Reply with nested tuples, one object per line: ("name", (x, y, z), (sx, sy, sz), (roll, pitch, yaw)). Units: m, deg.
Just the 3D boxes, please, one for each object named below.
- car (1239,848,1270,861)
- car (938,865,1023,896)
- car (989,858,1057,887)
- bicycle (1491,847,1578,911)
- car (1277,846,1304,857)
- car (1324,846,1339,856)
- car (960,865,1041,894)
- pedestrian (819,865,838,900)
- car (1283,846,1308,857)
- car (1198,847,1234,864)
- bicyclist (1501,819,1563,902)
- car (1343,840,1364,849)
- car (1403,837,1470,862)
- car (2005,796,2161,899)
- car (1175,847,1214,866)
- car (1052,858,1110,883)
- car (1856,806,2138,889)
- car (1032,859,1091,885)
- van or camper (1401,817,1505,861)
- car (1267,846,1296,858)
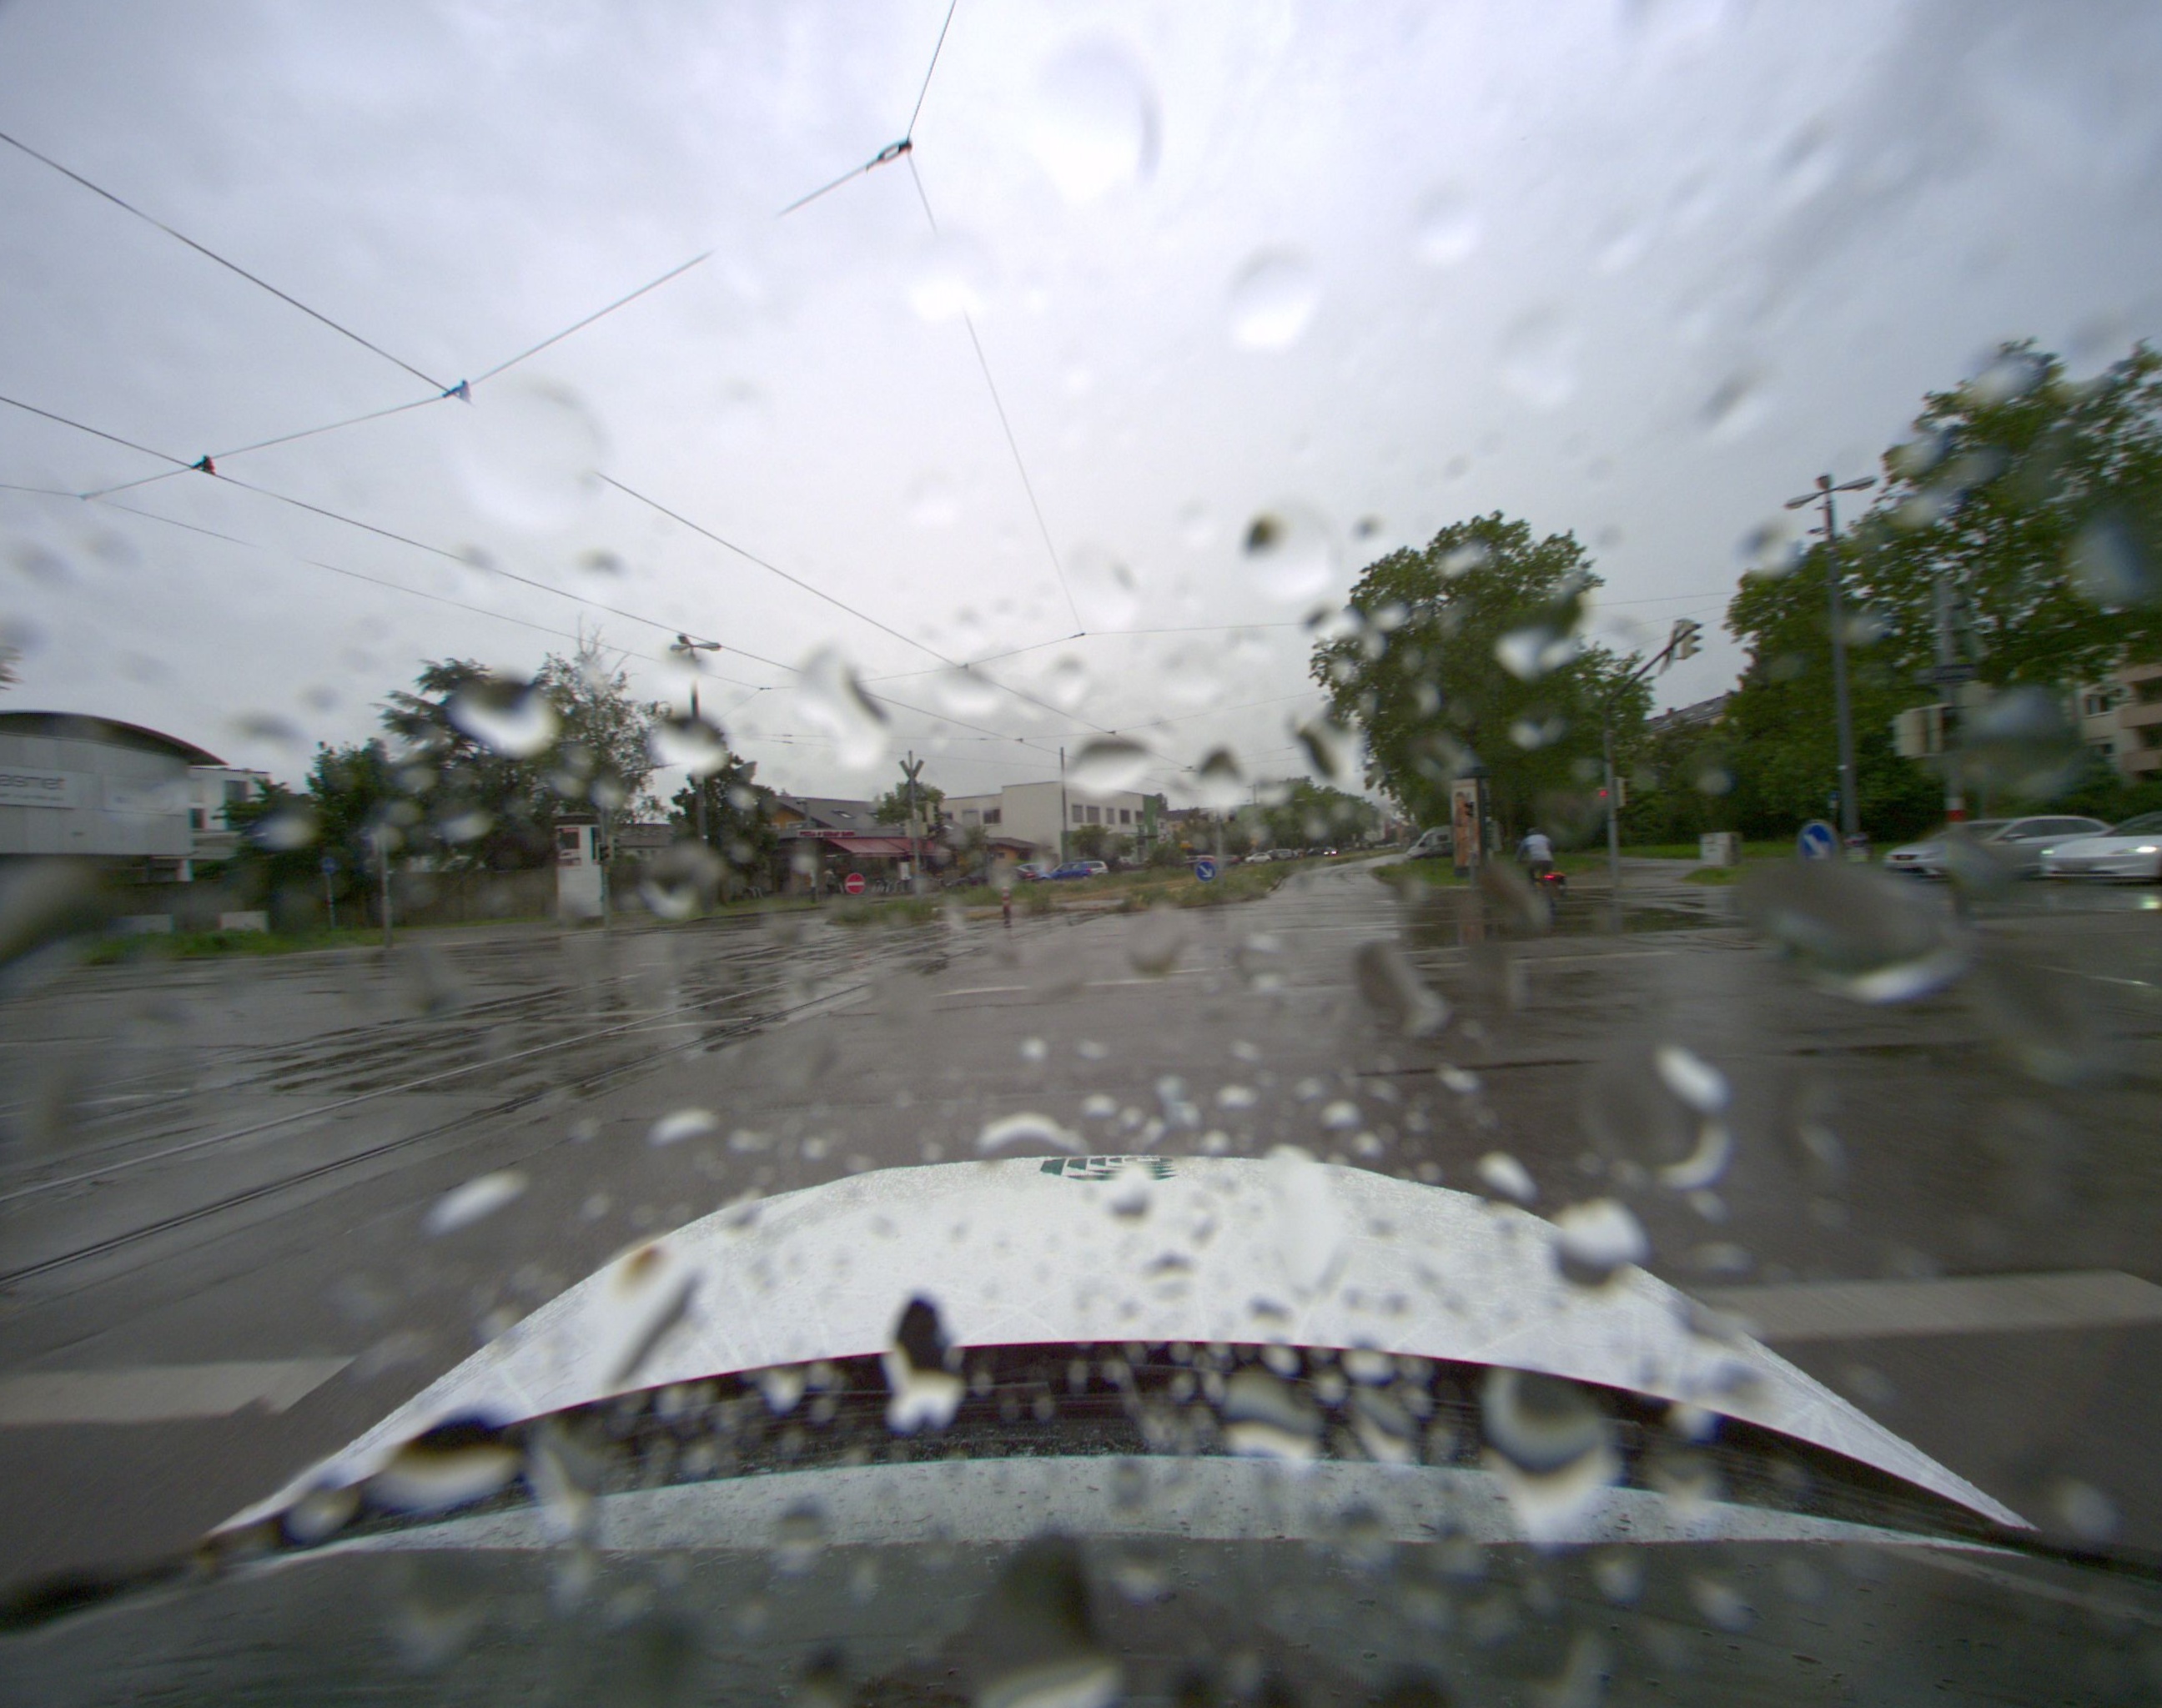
("car", (23.805, 0.044, 111.927), (3.765, 1.702, 1.835), (-2, 0, -3))
("car", (-5.772, 1.536, 47.067), (4.452, 1.418, 1.863), (-5, -1, 8))
("car", (-3.749, 1.187, 52.662), (3.961, 1.582, 1.864), (-3, -1, 11))
("bicycle", (8.505, 0.460, 15.364), (0.687, 1.117, 1.887), (-2, -1, 5))
("car", (35.428, -0.414, 137.901), (3.979, 1.832, 1.997), (-2, 0, -4))
("car", (47.203, -0.600, 153.379), (1.872, 1.662, 4.025), (-2, 0, 30))
("car", (-4.837, 1.525, 49.149), (4.471, 1.418, 1.863), (-4, -1, 8))
("pedestrian", (-13.403, 1.495, 43.172), (0.730, 1.797, 0.877), (-1, 0, -33))
("car", (37.622, -0.456, 142.756), (3.971, 1.832, 2.001), (-2, 0, 2))
("car", (15.881, 0.181, 95.960), (3.973, 1.887, 2.000), (-2, 0, 0))
("bicyclist", (8.491, 0.131, 15.366), (0.687, 1.506, 0.845), (-2, -1, 4))
("car", (60.198, -2.167, 180.215), (3.971, 1.832, 2.001), (-2, 0, 2))
("car", (27.045, -0.328, 61.971), (4.402, 1.717, 2.012), (-2, 0, 28))
("car", (21.179, -0.176, 15.643), (4.577, 1.828, 1.935), (-2, 0, 1))
("car", (11.902, 0.255, 85.458), (3.964, 1.863, 2.005), (-2, 0, 8))
("car", (-0.030, 1.194, 60.501), (4.104, 1.641, 1.925), (-3, -1, -7))
("car", (21.276, -0.140, 19.072), (4.377, 1.691, 1.935), (-2, 0, 1))
("car", (-1.414, 1.251, 57.441), (3.979, 1.582, 1.927), (-3, -1, -4))
("van or camper", (29.429, -1.131, 64.559), (7.255, 3.178, 3.281), (-2, -1, 25))
("car", (31.808, -0.312, 129.143), (3.979, 1.758, 2.007), (-2, 0, -4))
